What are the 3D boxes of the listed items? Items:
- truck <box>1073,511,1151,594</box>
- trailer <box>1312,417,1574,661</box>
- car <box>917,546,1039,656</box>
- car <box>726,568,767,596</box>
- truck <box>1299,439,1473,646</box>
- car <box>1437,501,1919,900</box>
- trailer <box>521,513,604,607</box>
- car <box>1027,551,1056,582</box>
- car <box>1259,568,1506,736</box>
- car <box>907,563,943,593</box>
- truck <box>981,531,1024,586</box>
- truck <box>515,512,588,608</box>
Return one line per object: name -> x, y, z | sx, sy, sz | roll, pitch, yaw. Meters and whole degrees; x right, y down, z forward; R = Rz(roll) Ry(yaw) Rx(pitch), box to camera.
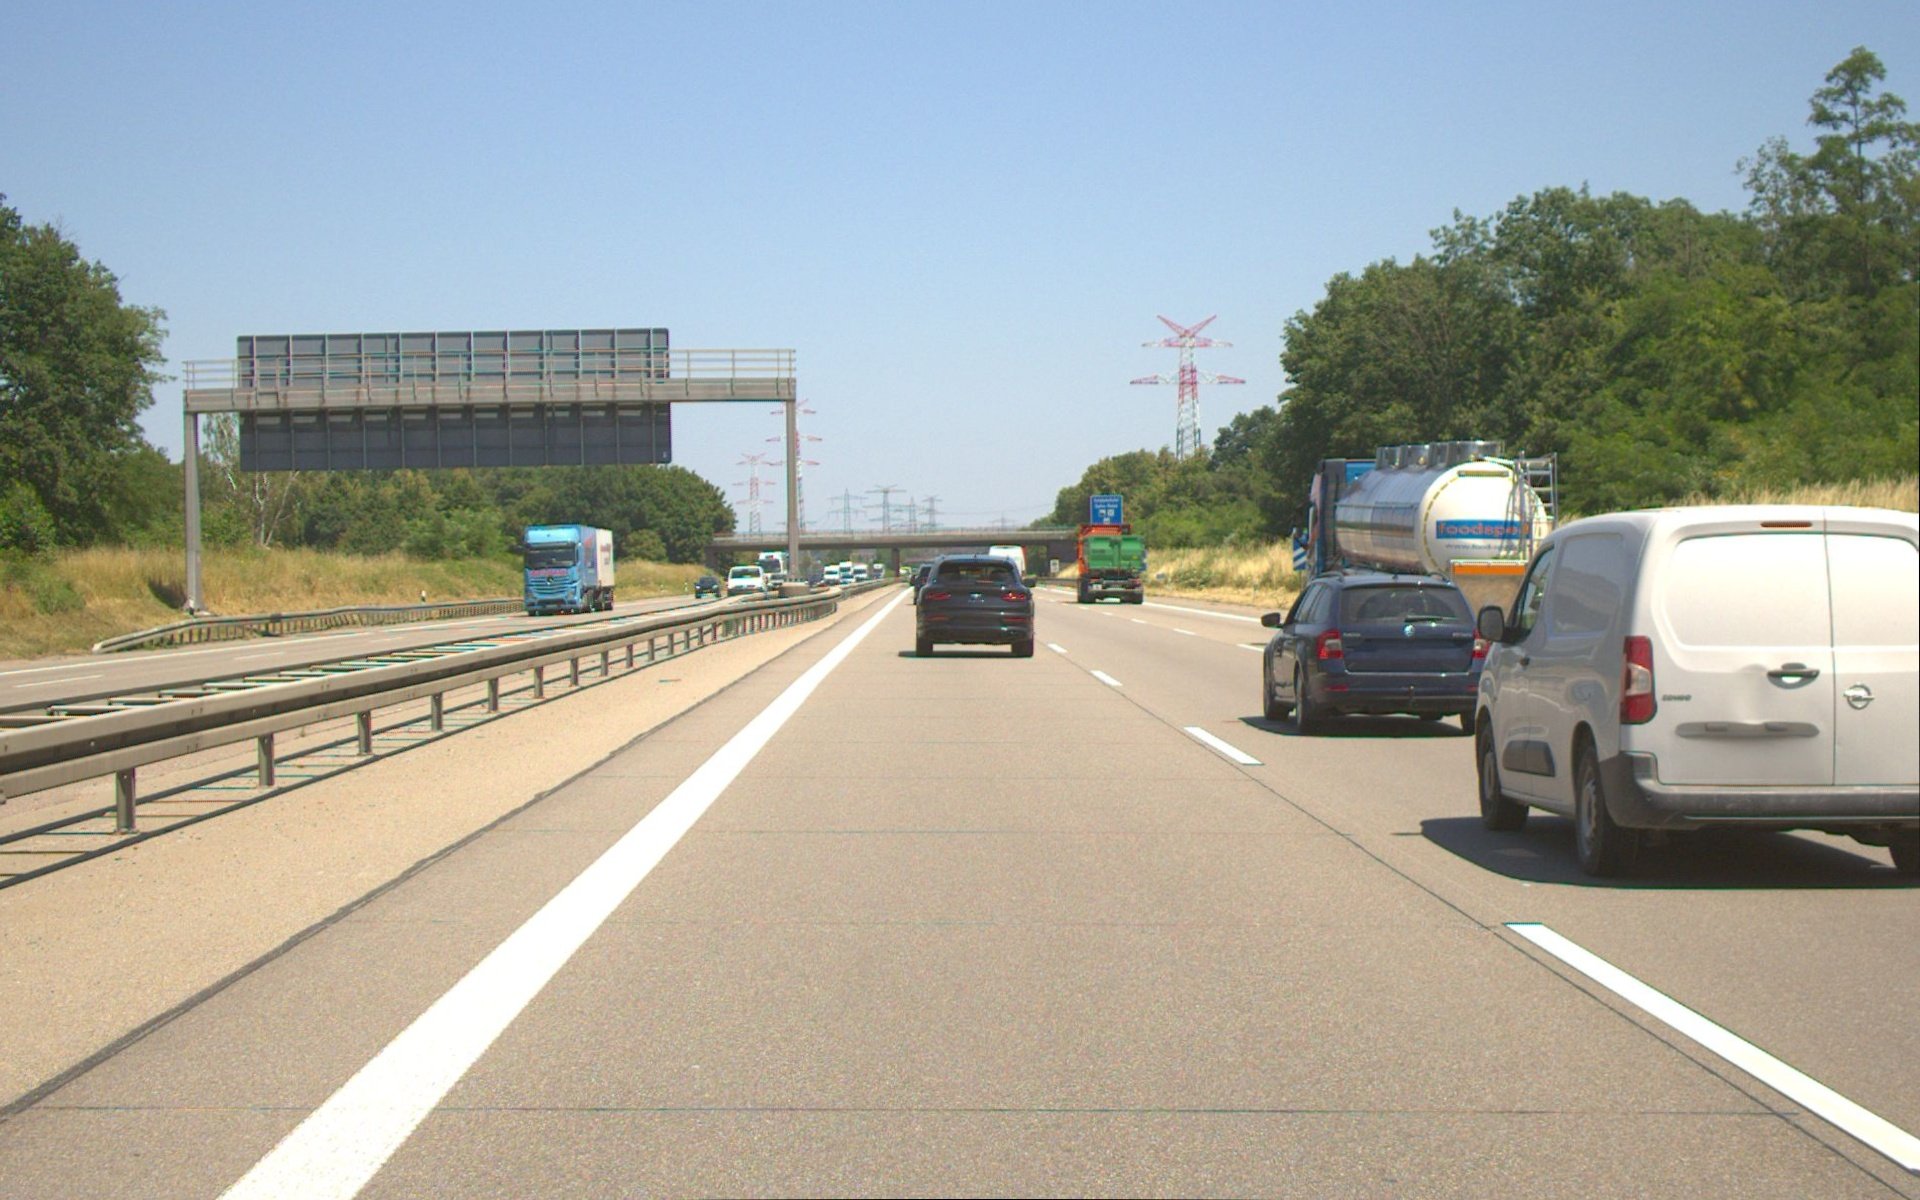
truck -> 7.085, -2.209, 161.428 | 2.989, 3.716, 10.090 | 1, 1, -1
trailer -> 8.285, -1.033, 60.602 | 2.682, 3.824, 12.011 | 1, 1, -1
car -> 0.257, -0.025, 59.621 | 1.940, 1.746, 5.814 | 0, 1, -1
car -> -11.040, -0.939, 177.732 | 1.927, 1.344, 3.565 | -2, 1, -1
truck -> 8.173, -1.098, 66.386 | 2.682, 3.824, 4.444 | 1, 0, -1
car -> 3.841, 0.430, 18.270 | 1.814, 1.821, 5.111 | 0, 1, -1
trailer -> -18.712, -1.908, 162.245 | 2.702, 4.172, 10.767 | -2, 1, -1
car -> 4.836, -1.988, 204.179 | 1.524, 1.798, 3.626 | 0, 1, -1
car -> 3.887, 0.436, 32.220 | 1.774, 1.467, 3.873 | 0, 1, -1
car -> -1.507, -0.964, 147.199 | 1.524, 1.248, 3.626 | 0, 1, -1
truck -> 2.251, -2.204, 183.394 | 2.060, 2.904, 7.003 | 0, 1, -1
truck -> -18.587, -1.833, 156.668 | 2.702, 4.172, 4.723 | -2, 1, -1
